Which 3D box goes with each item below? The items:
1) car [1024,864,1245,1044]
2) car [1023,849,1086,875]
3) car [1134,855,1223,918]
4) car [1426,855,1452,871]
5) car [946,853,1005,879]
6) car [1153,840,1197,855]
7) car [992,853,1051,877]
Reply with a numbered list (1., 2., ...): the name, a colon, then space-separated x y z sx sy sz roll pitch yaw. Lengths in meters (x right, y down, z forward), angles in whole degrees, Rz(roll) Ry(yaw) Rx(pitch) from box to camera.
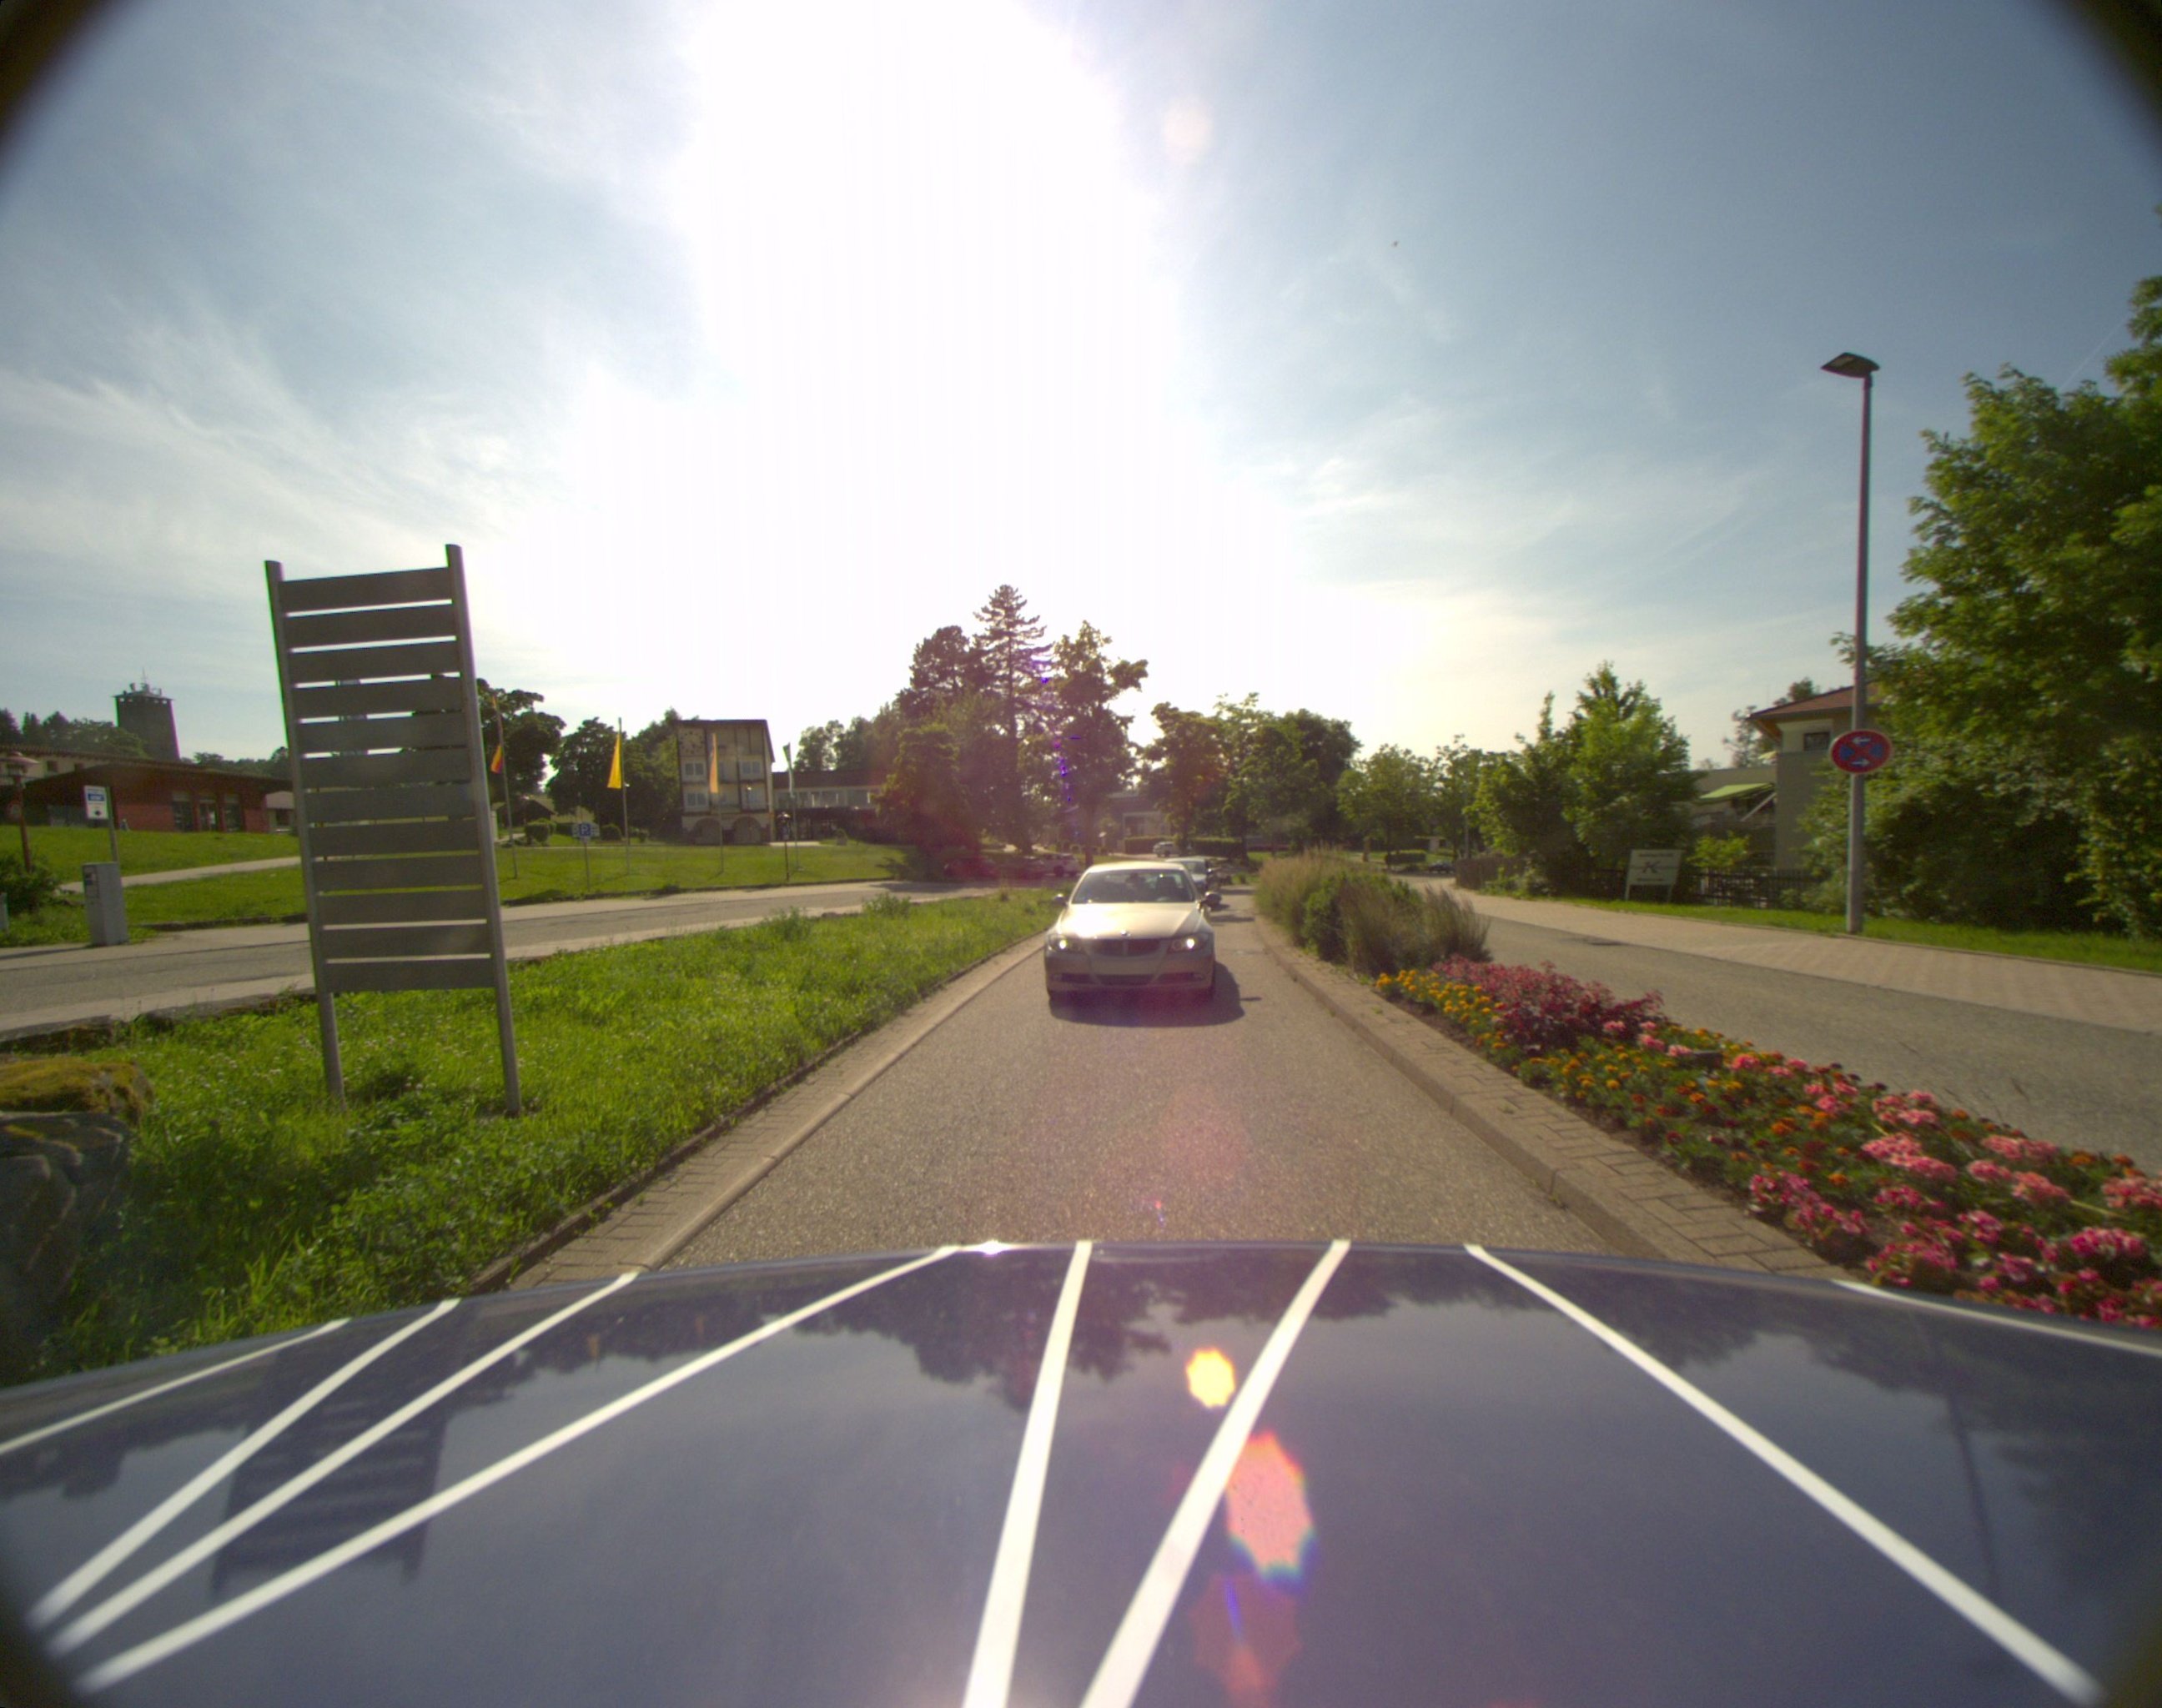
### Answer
1. car: 0.643 0.894 8.785 1.838 1.360 4.582 -2 1 5
2. car: -1.856 0.527 52.950 3.987 1.609 2.004 3 2 39
3. car: 2.885 0.847 21.727 1.900 1.499 4.004 2 1 16
4. car: 32.779 0.806 69.488 1.475 1.357 2.808 1 1 39
5. car: -6.517 0.736 46.892 3.303 1.396 1.717 2 3 34
6. car: 10.293 -0.688 83.205 4.374 1.506 1.790 1 1 -23
7. car: -3.879 0.680 49.224 3.528 1.419 1.689 3 2 39
